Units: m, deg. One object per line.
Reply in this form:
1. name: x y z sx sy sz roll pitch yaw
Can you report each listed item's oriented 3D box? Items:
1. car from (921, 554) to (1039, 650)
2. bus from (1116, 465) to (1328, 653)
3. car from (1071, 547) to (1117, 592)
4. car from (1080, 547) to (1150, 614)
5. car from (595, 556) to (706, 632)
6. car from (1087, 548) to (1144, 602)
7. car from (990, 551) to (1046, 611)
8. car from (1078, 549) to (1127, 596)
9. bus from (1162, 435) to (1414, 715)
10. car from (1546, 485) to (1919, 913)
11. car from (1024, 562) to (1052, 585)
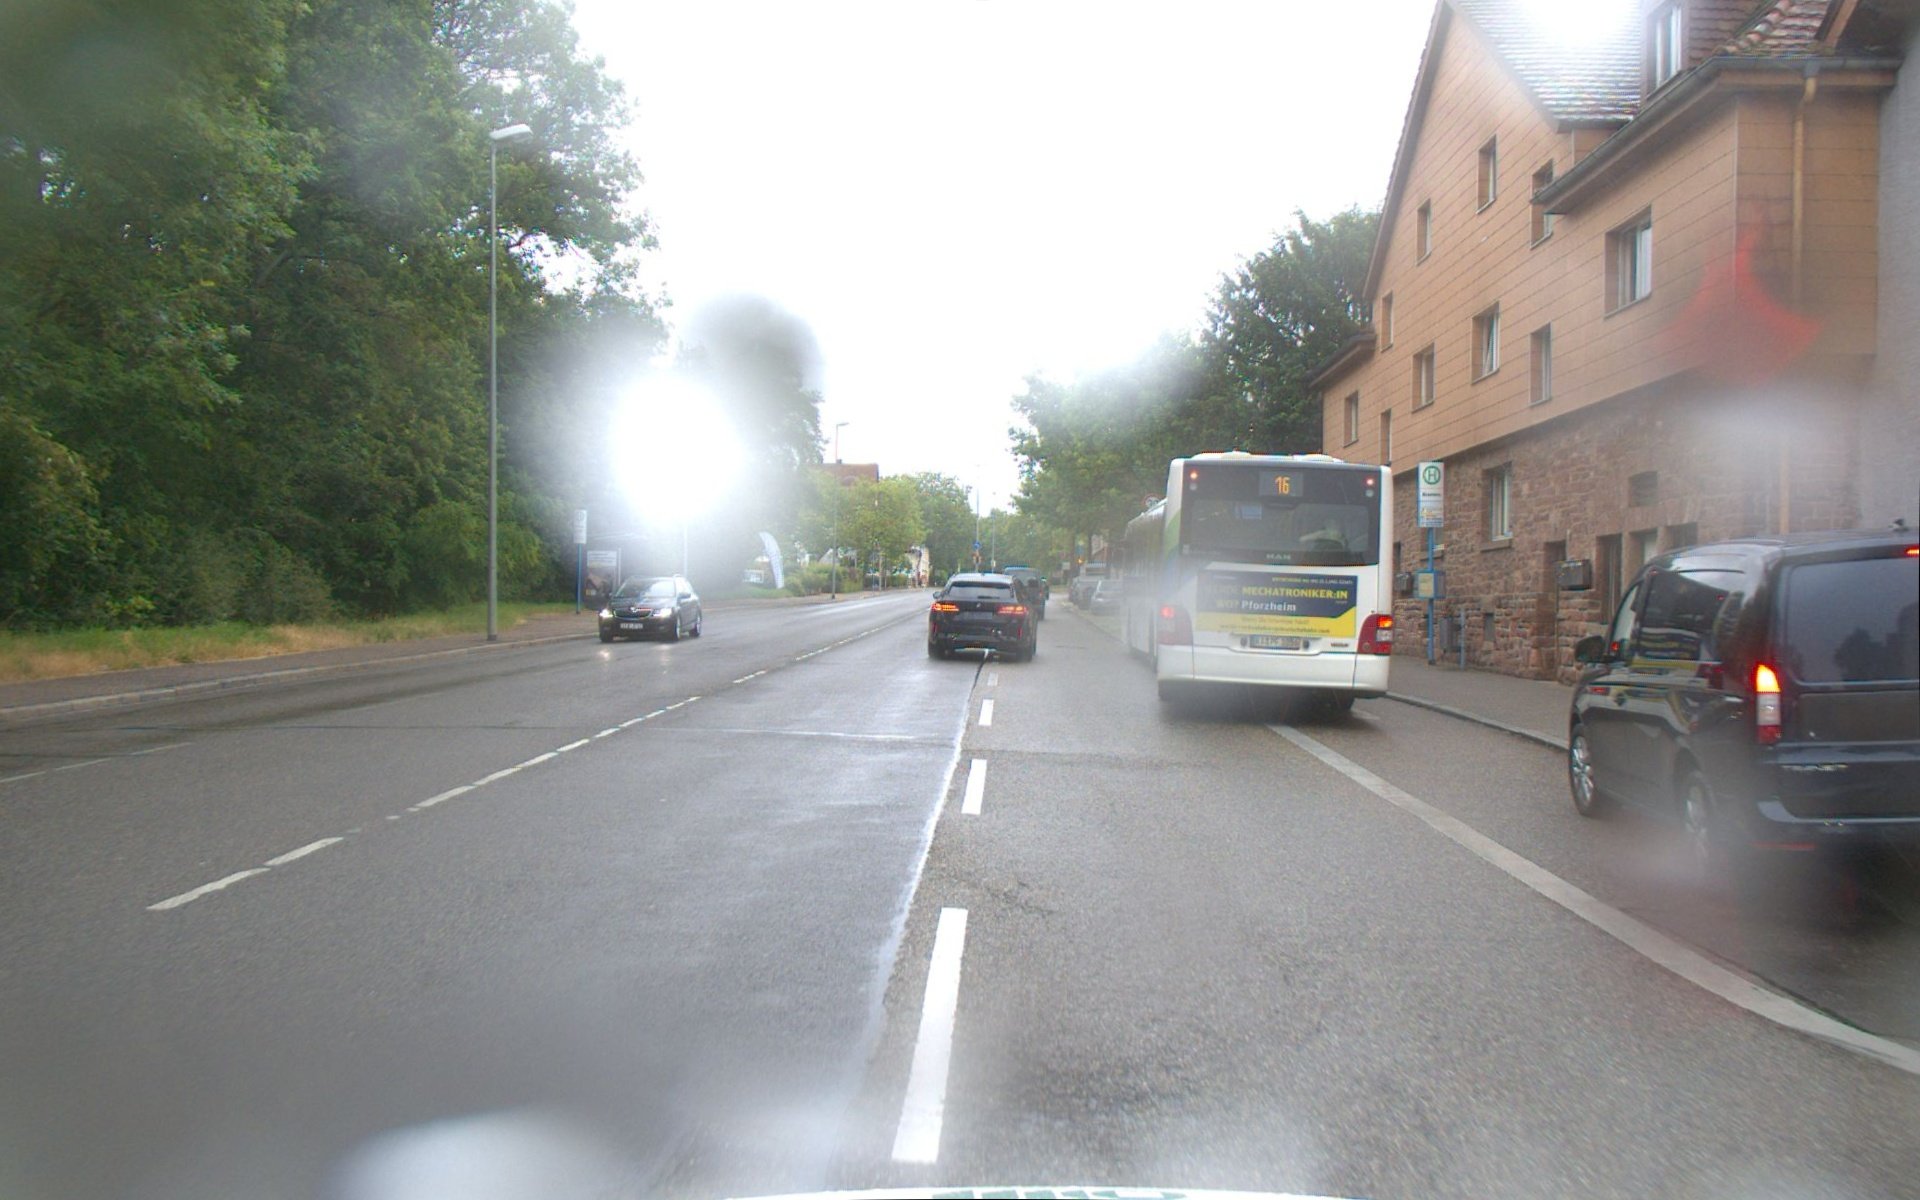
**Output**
1. car: 0.387 -0.022 30.641 1.953 1.478 4.002 4 2 1
2. bus: 4.496 -0.835 30.426 2.569 2.896 9.798 0 2 1
3. car: 6.653 -1.553 82.579 1.952 2.048 4.002 1 3 0
4. car: 5.142 -0.689 55.207 1.952 2.048 4.002 1 3 0
5. car: -6.981 -0.183 37.692 1.733 1.559 4.001 0 2 1
6. car: 6.342 -1.053 67.970 1.952 2.048 4.002 1 3 0
7. car: 2.143 -0.732 61.104 1.952 2.048 4.002 2 2 2
8. car: 6.702 -1.320 77.950 1.952 2.048 4.002 1 3 0
9. bus: 3.932 -0.436 21.412 2.567 2.896 8.297 0 2 7
10. car: 4.887 0.397 9.759 1.885 1.925 4.766 -2 1 10
11. car: 5.724 -1.970 121.480 1.827 1.545 4.002 1 3 0
